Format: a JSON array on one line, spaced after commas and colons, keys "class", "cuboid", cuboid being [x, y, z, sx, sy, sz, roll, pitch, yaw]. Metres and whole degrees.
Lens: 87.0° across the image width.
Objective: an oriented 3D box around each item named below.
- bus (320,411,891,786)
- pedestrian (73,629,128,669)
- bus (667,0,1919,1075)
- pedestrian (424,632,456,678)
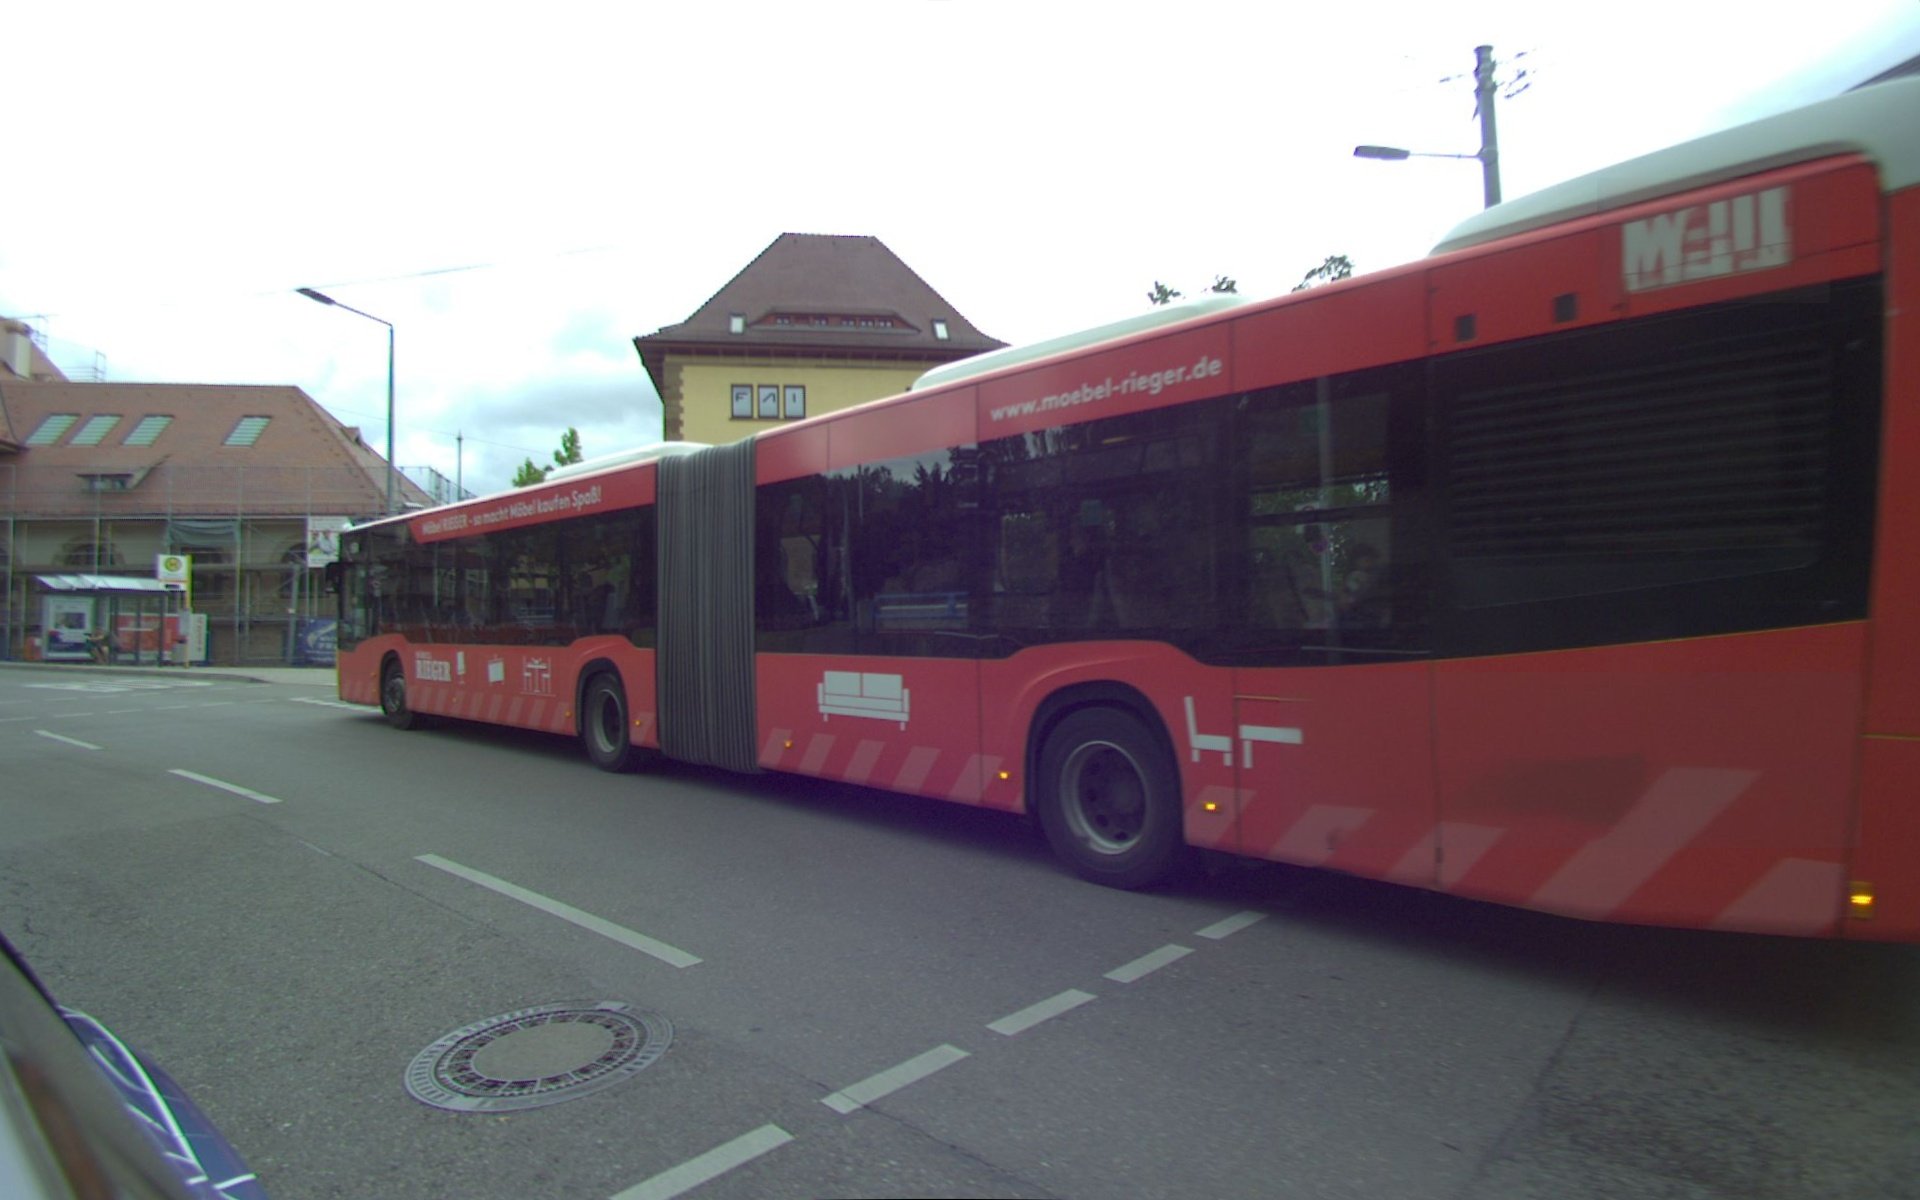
[{"class": "bus", "cuboid": [-5.241, 0.095, 12.911, 10.021, 3.145, 2.628, -2, -1, 44]}, {"class": "pedestrian", "cuboid": [-26.955, 1.535, 31.748, 0.898, 1.201, 0.929, 0, -5, 20]}, {"class": "bus", "cuboid": [1.365, -0.131, 6.333, 2.626, 3.145, 8.300, 0, -1, -43]}, {"class": "pedestrian", "cuboid": [-20.024, 2.121, 38.989, 0.786, 1.733, 0.927, 1, -3, -6]}]
